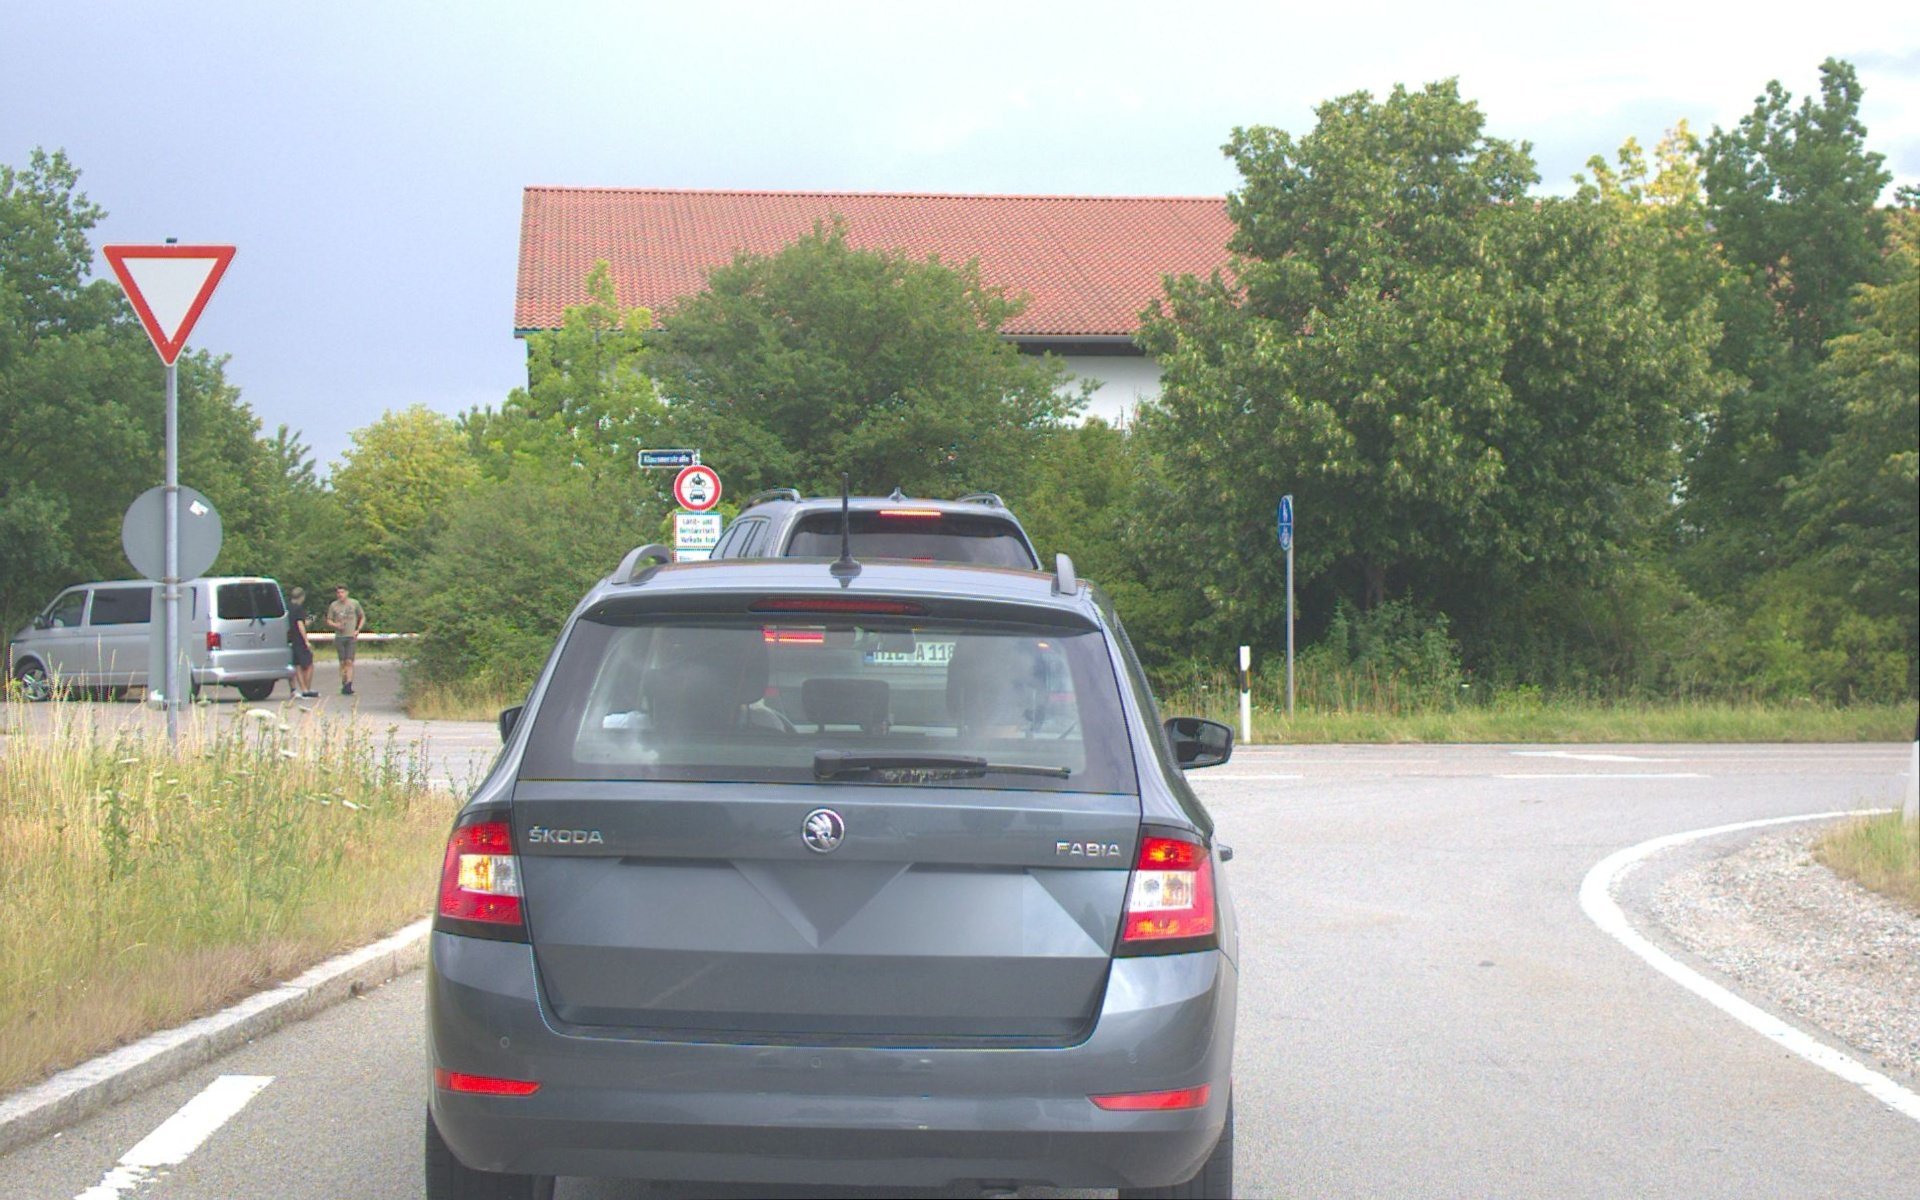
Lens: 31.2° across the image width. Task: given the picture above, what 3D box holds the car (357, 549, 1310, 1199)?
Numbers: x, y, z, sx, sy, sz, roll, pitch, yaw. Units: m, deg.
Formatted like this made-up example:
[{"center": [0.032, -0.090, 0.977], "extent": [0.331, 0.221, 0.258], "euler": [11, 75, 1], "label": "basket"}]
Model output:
[{"center": [-0.305, 0.637, 7.980], "extent": [1.676, 1.457, 3.708], "euler": [1, 1, -2], "label": "car"}]

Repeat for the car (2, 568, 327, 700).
[{"center": [-12.856, 0.507, 55.497], "extent": [4.908, 2.007, 2.338], "euler": [0, 2, 33], "label": "car"}]

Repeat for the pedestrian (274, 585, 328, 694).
[{"center": [-10.560, 0.628, 55.070], "extent": [0.529, 1.720, 0.640], "euler": [0, 1, 32], "label": "pedestrian"}]

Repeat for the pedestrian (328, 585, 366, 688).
[{"center": [-10.148, 0.598, 56.925], "extent": [0.583, 1.677, 0.566], "euler": [-1, 1, -11], "label": "pedestrian"}]

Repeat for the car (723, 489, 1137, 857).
[{"center": [-0.288, 0.362, 18.932], "extent": [1.993, 1.768, 4.644], "euler": [0, 0, -4], "label": "car"}]
